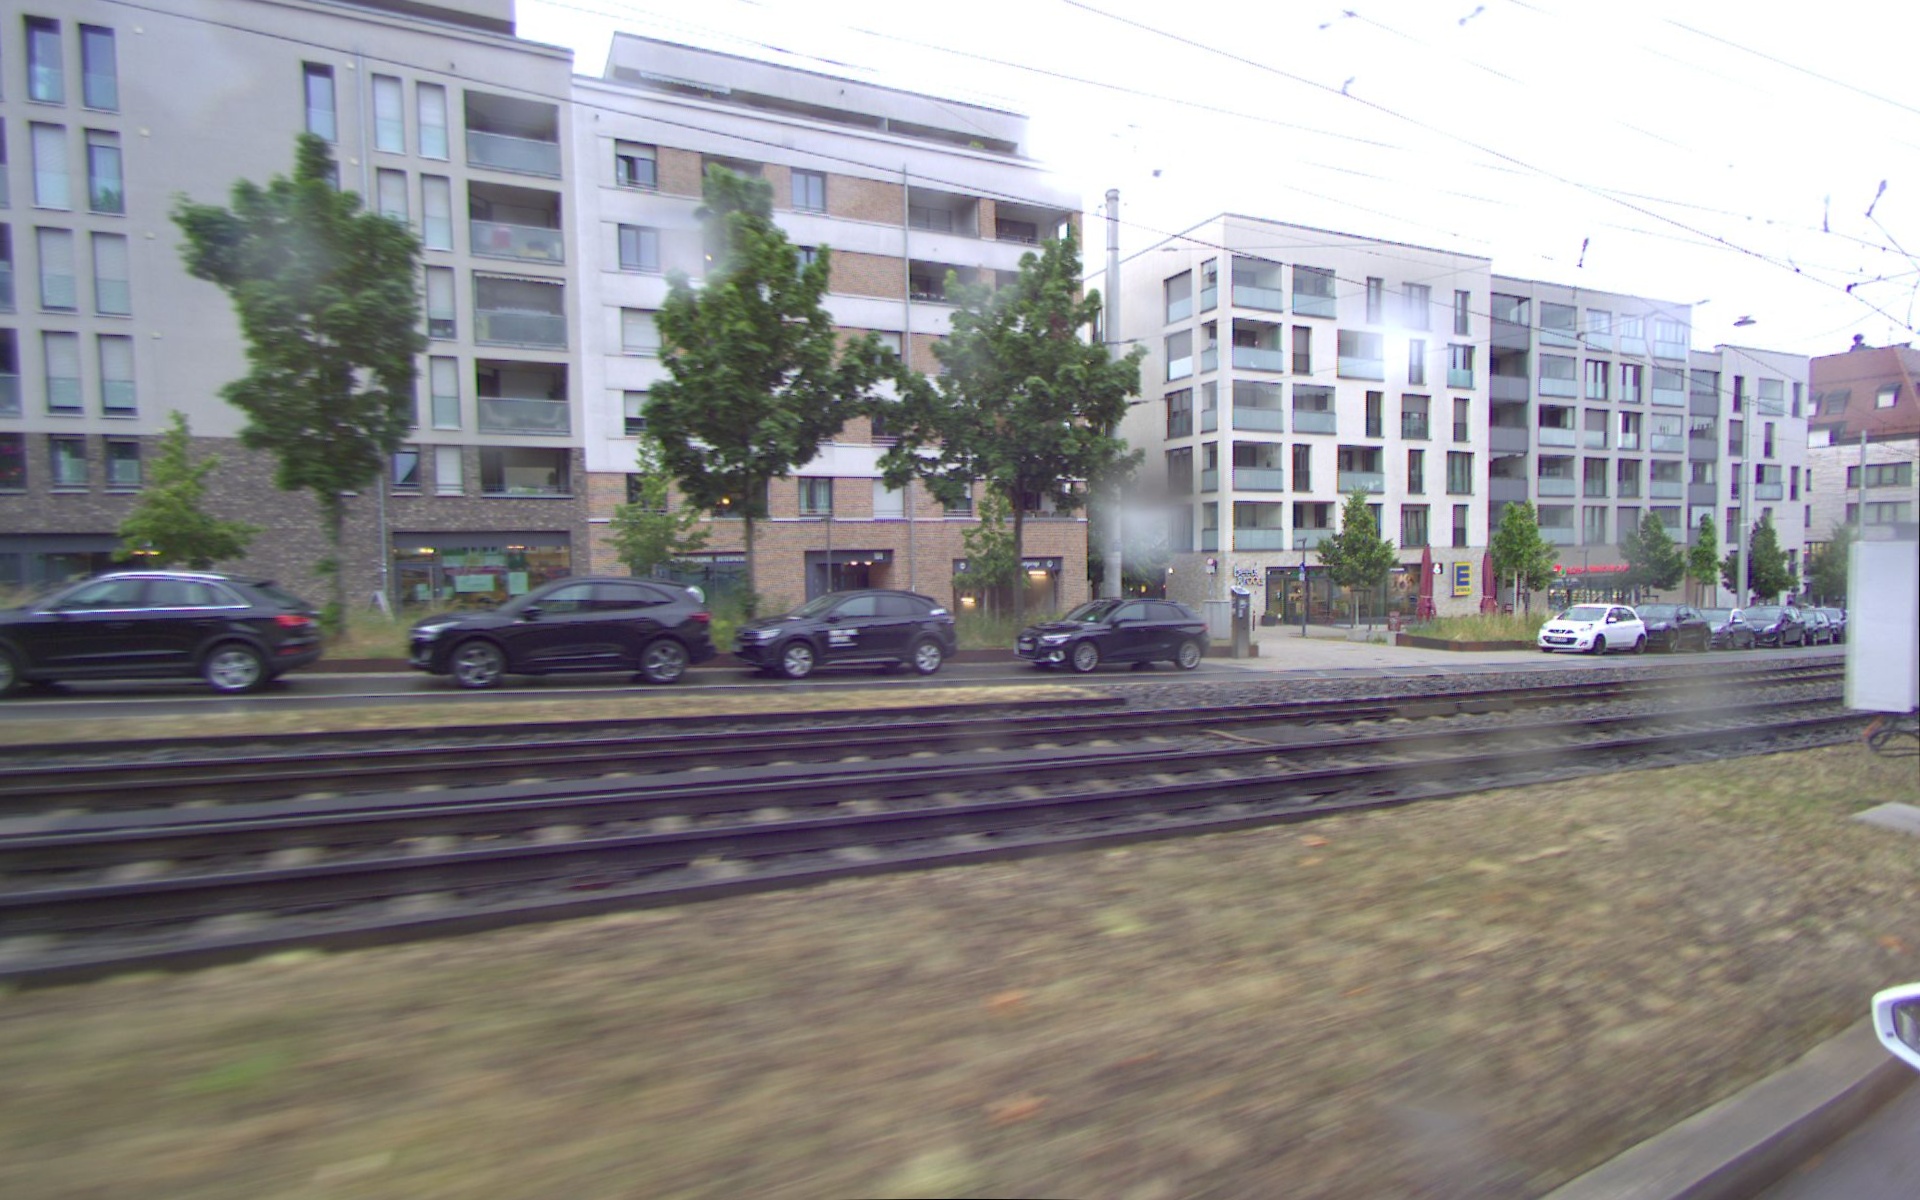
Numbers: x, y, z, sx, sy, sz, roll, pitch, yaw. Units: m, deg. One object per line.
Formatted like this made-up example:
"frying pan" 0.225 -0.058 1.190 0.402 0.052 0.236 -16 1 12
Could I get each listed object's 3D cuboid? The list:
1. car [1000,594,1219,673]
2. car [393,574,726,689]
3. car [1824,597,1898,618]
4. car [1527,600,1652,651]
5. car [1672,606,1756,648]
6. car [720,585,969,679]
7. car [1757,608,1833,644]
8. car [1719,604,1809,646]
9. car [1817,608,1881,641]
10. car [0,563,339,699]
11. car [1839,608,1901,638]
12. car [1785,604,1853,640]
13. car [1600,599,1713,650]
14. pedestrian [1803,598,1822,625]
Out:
"car" 3.115 0.645 20.898 4.146 1.450 1.958 1 2 -28
"car" -6.223 0.442 15.891 4.635 1.605 1.797 1 2 -26
"car" 73.843 0.563 82.375 1.800 1.590 4.117 0 1 -27
"car" 19.577 0.775 31.218 3.689 1.499 1.757 1 0 -30
"car" 27.546 0.958 36.668 3.417 1.454 1.538 1 0 -36
"car" -2.087 0.539 18.431 4.207 1.509 1.728 1 2 -30
"car" 35.491 1.078 42.664 3.971 1.381 1.538 1 2 -36
"car" 31.638 0.962 39.500 4.277 1.533 1.707 1 0 -36
"car" 43.134 1.151 48.692 4.050 1.524 1.757 1 0 -40
"car" -11.195 0.376 13.638 4.467 1.666 1.727 1 2 -23
"car" 48.047 1.190 53.022 4.202 1.524 1.895 1 0 -40
"car" 39.177 0.975 45.779 3.889 1.524 1.757 1 0 -40
"car" 23.273 0.791 33.519 4.363 1.582 1.753 1 0 -36
"pedestrian" 64.298 0.859 75.765 0.758 2.041 0.933 0 2 -40
